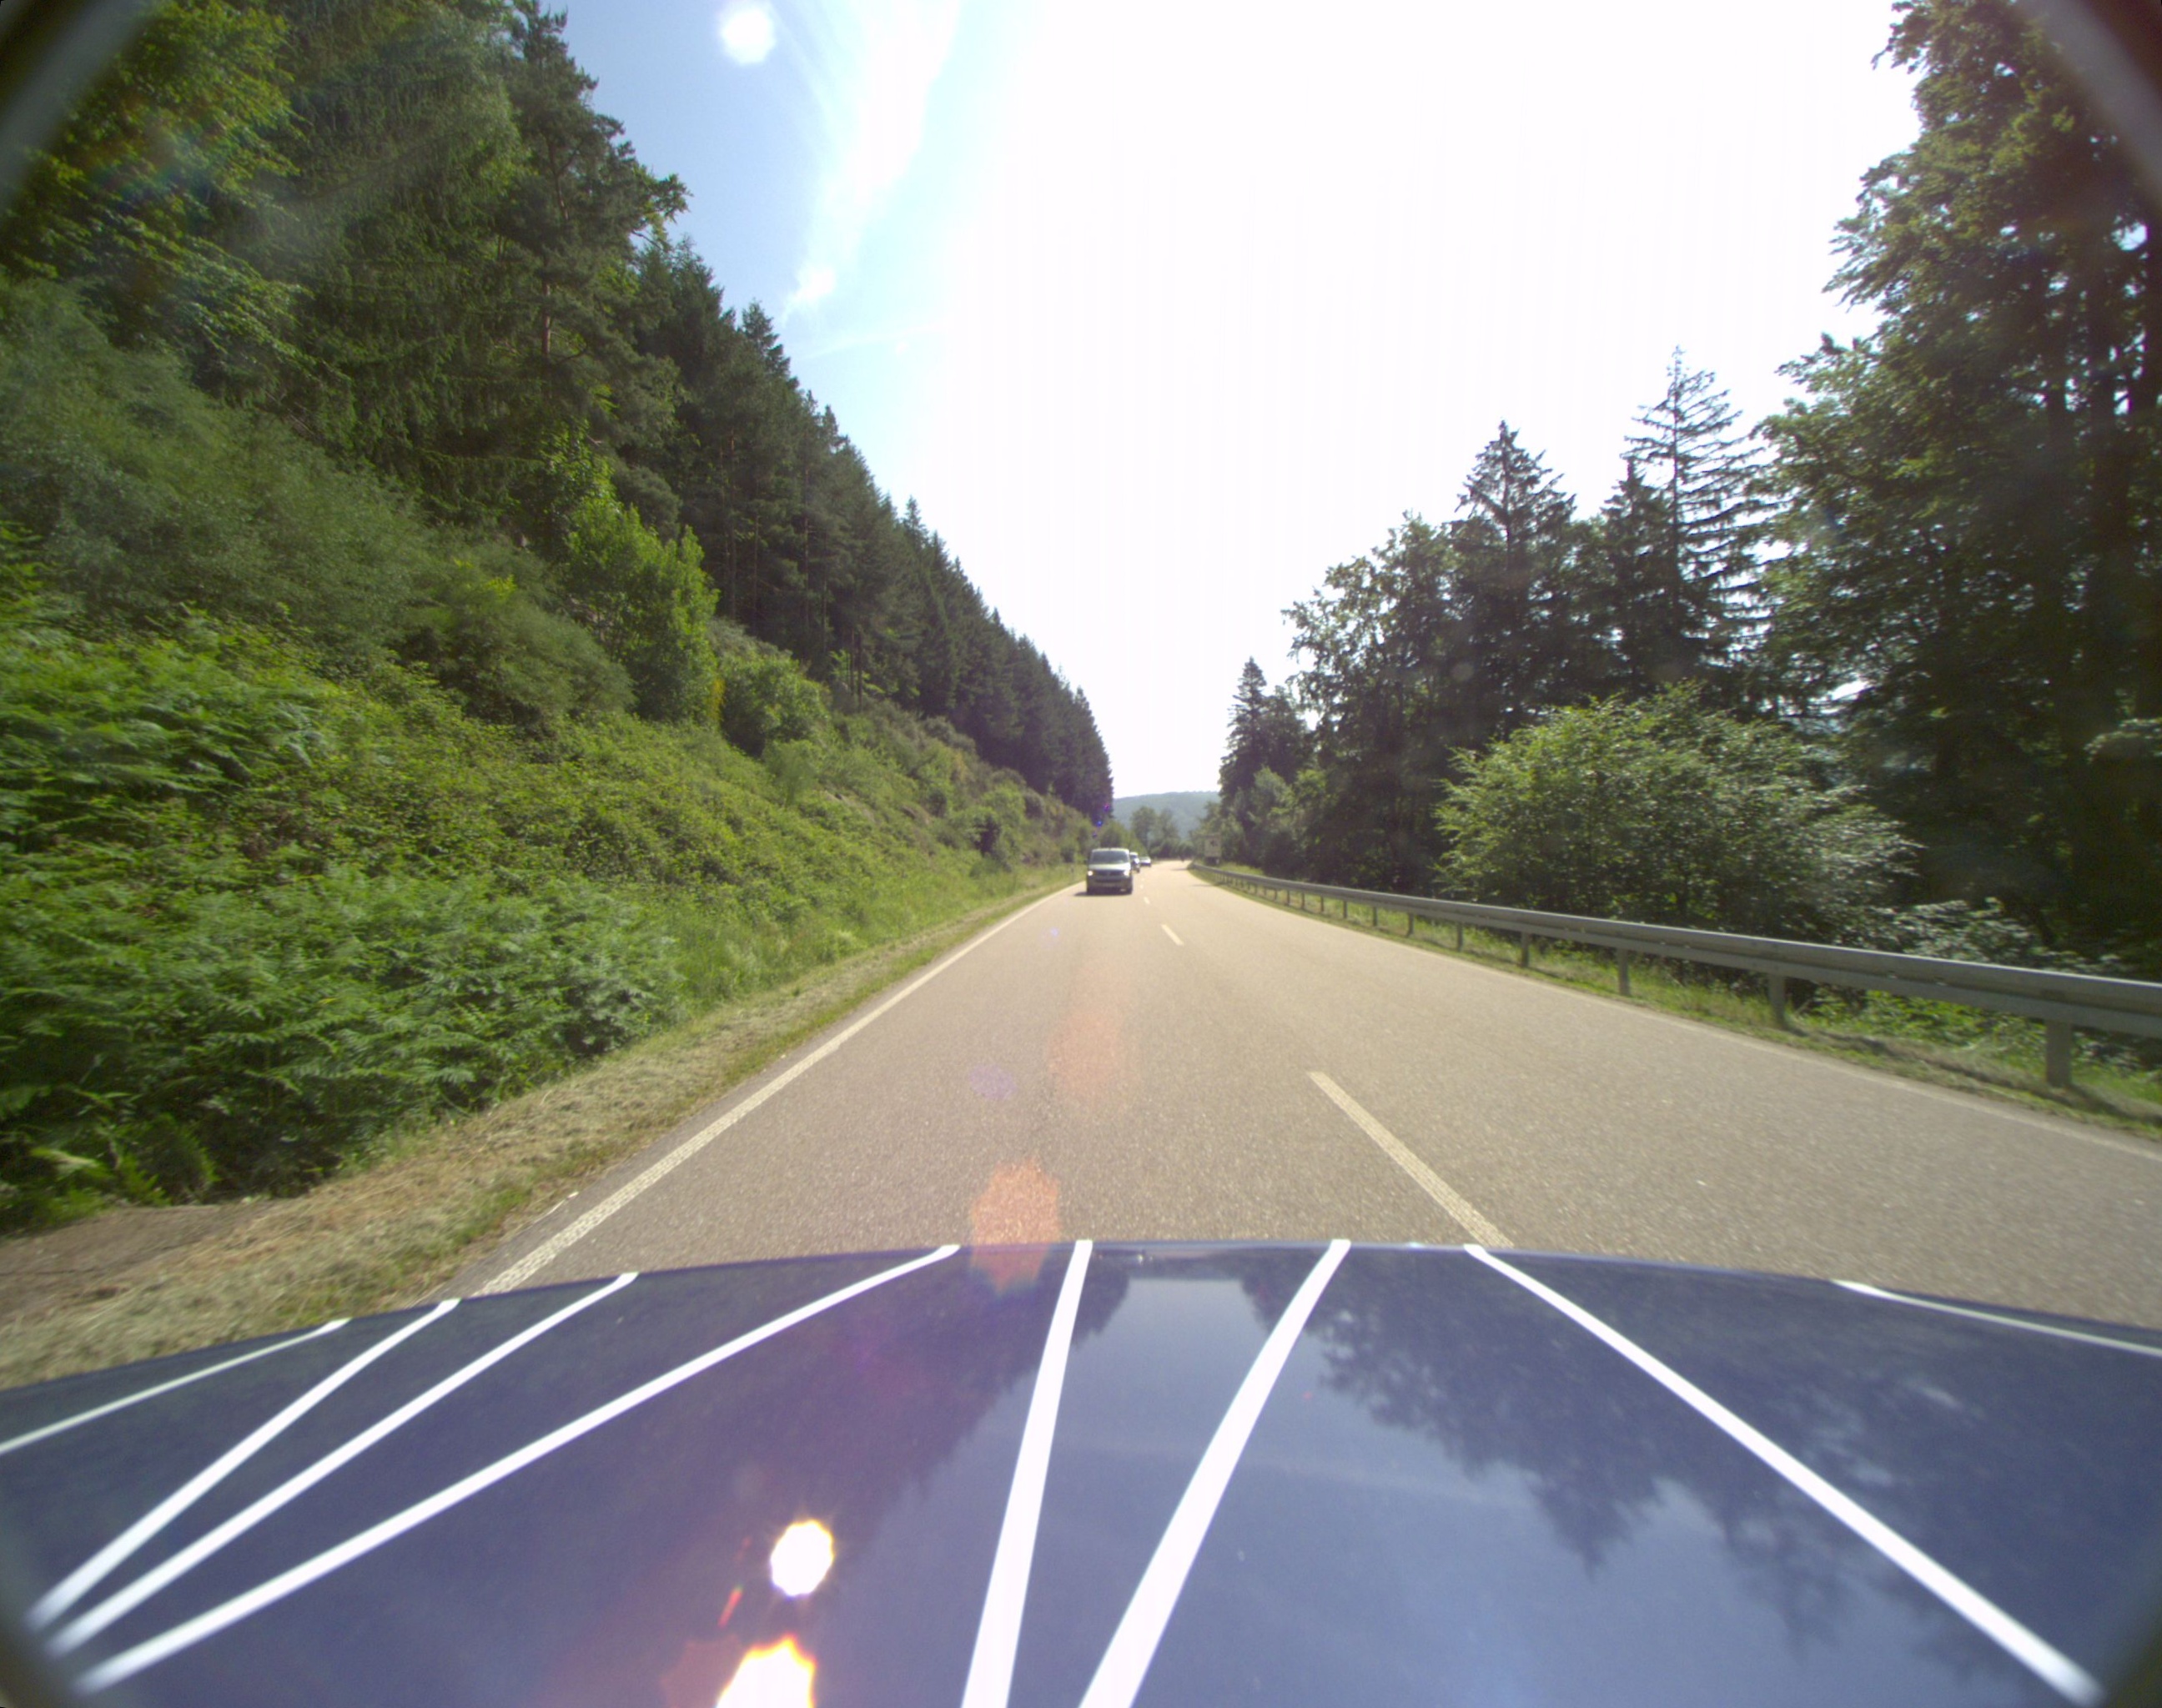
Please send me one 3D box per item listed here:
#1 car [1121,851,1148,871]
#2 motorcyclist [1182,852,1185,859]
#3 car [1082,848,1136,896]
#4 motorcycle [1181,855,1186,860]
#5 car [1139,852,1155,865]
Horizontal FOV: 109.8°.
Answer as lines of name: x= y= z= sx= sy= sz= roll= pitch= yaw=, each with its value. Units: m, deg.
car: x=5.139 y=0.655 z=72.613 sx=2.136 sy=1.824 sz=4.725 roll=-2 pitch=0 yaw=8
motorcyclist: x=23.298 y=0.301 z=172.537 sx=0.659 sy=1.504 sz=0.935 roll=0 pitch=0 yaw=12
car: x=1.299 y=0.727 z=32.760 sx=1.989 sy=1.899 sz=4.762 roll=-1 pitch=0 yaw=6
motorcycle: x=23.278 y=0.704 z=172.532 sx=0.986 sy=1.065 sz=1.964 roll=-1 pitch=0 yaw=12
car: x=9.359 y=0.673 z=107.686 sx=1.997 sy=1.718 sz=4.003 roll=-2 pitch=0 yaw=9
